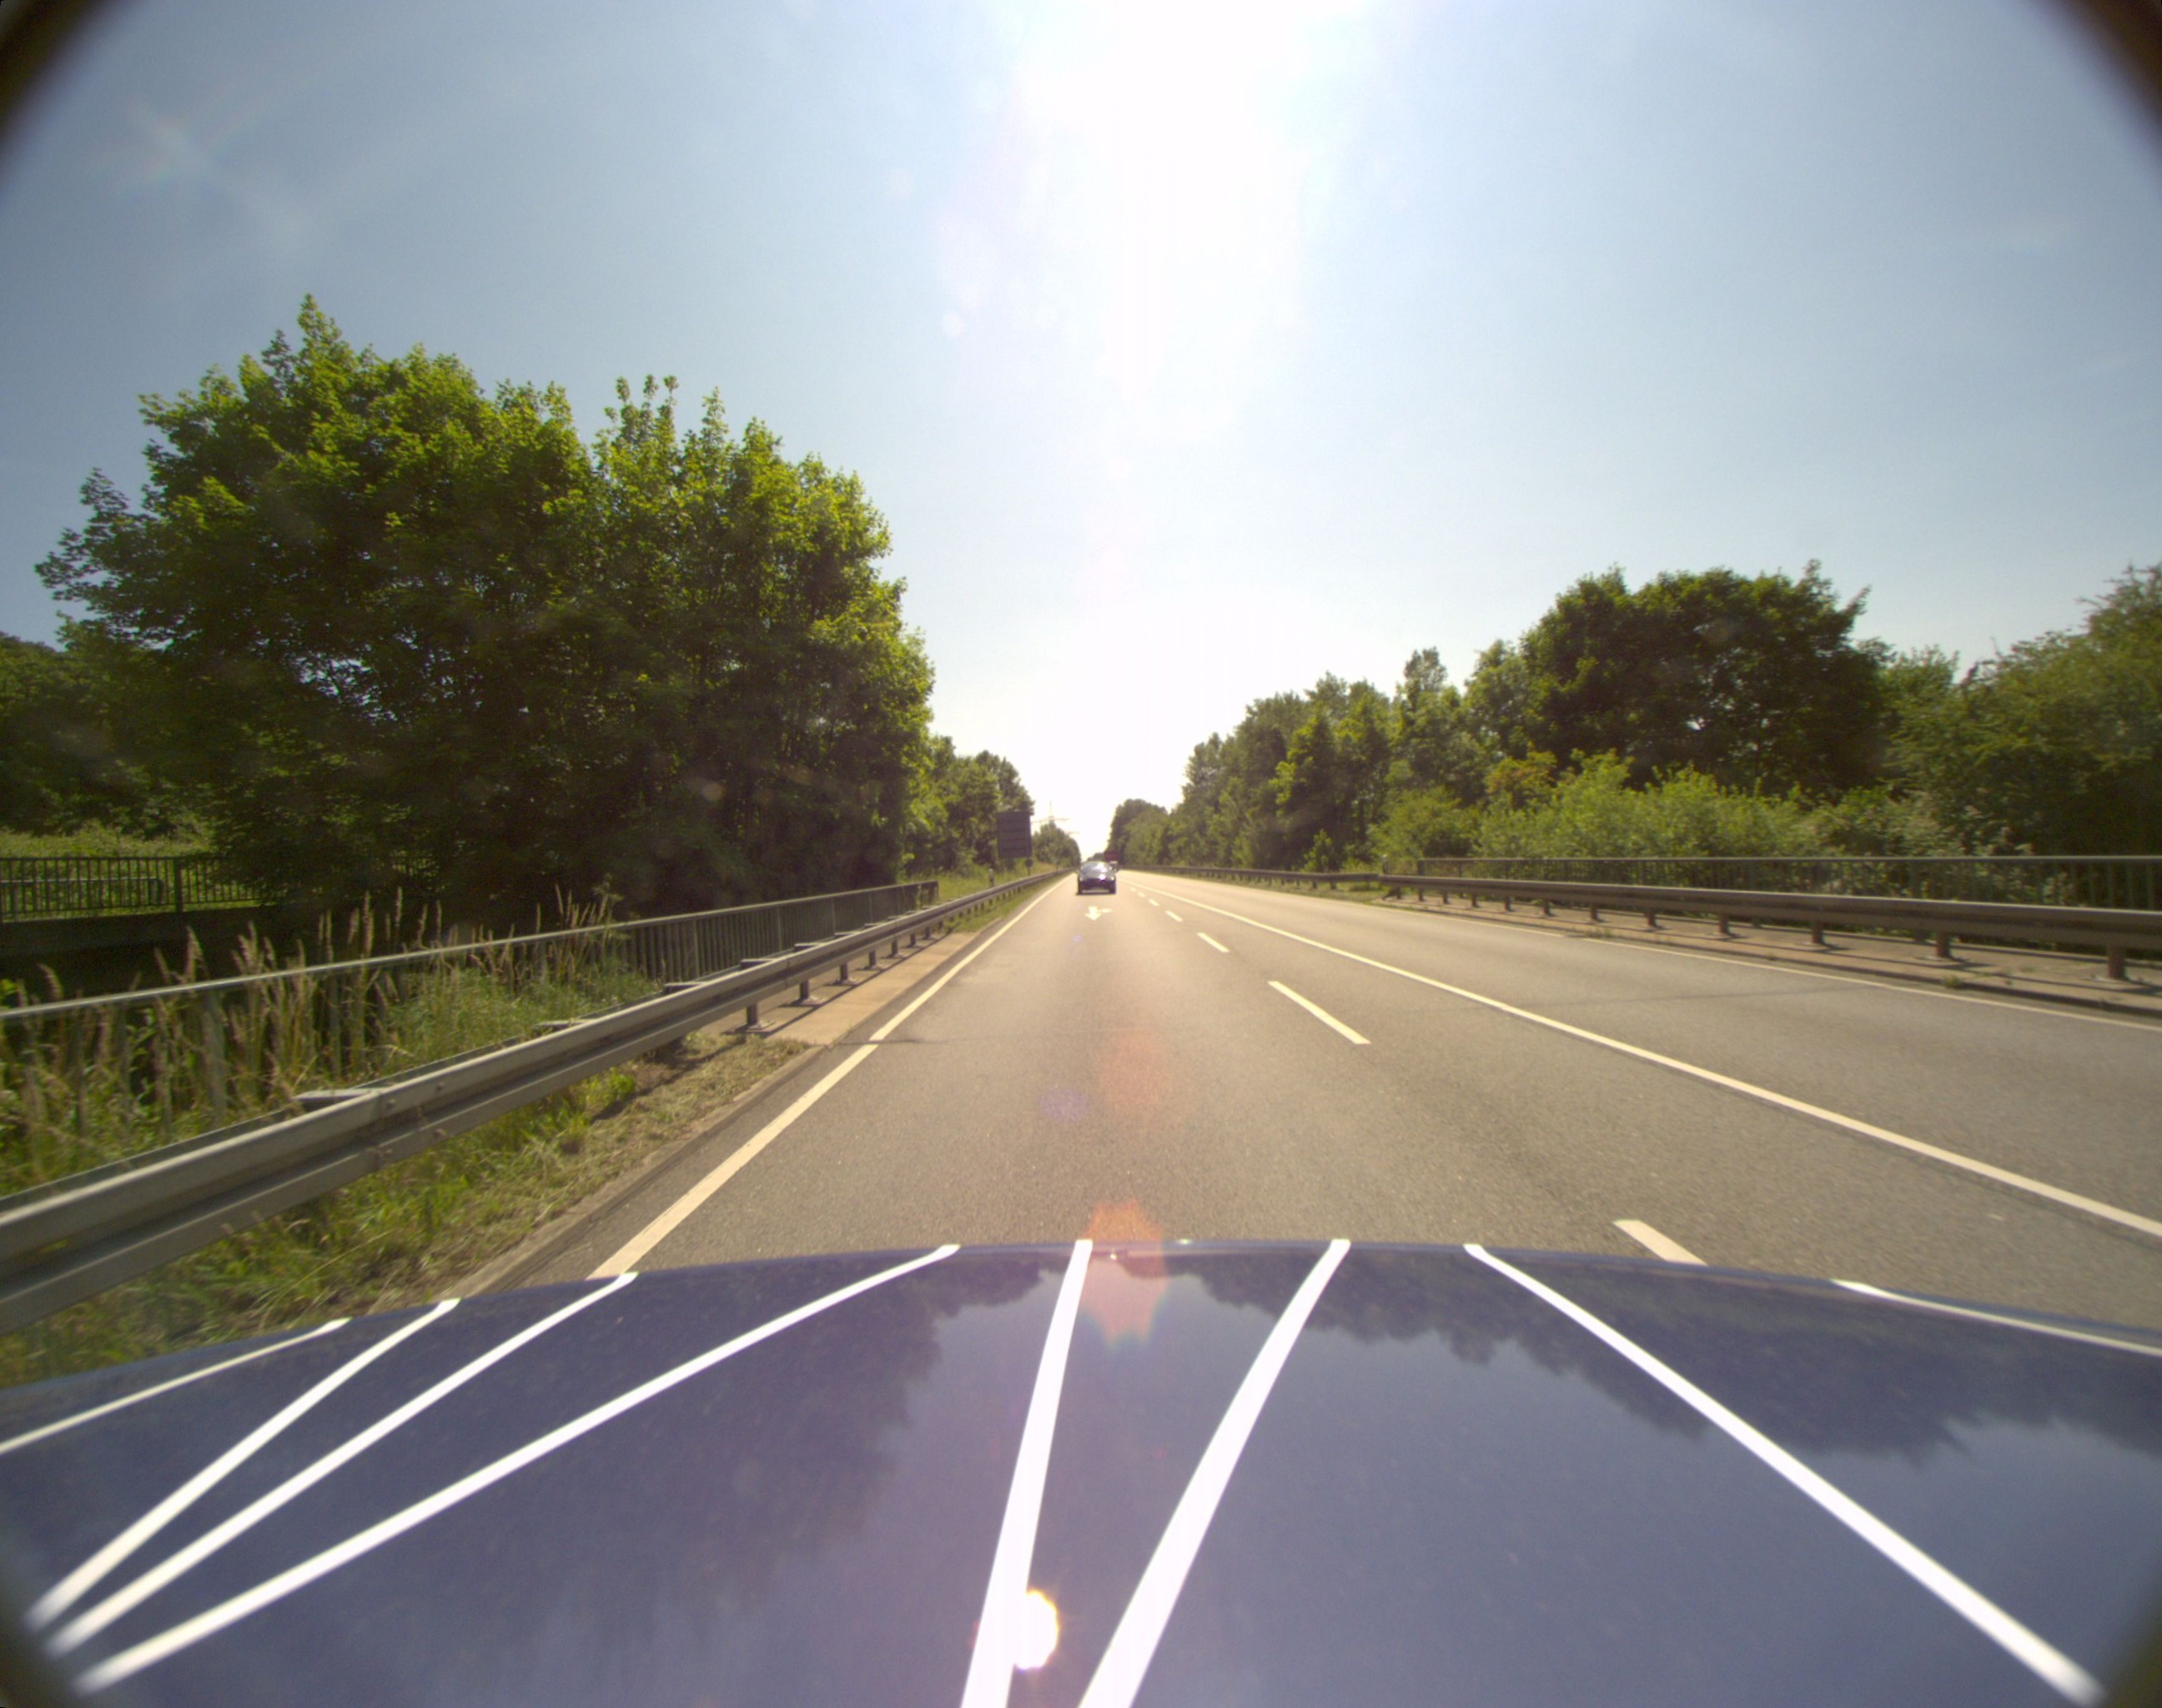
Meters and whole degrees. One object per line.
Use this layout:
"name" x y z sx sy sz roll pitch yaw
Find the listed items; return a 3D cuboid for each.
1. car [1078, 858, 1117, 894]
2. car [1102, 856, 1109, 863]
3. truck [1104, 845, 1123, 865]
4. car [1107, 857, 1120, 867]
"car" 0.705 0.924 33.484 1.529 1.387 3.443 -3 0 1
"car" 6.617 1.514 209.180 1.762 1.694 4.000 -2 0 0
"truck" 6.171 0.197 147.256 3.200 3.678 9.006 -2 0 0
"car" 5.206 1.280 121.610 1.823 1.537 4.526 -2 0 -1
